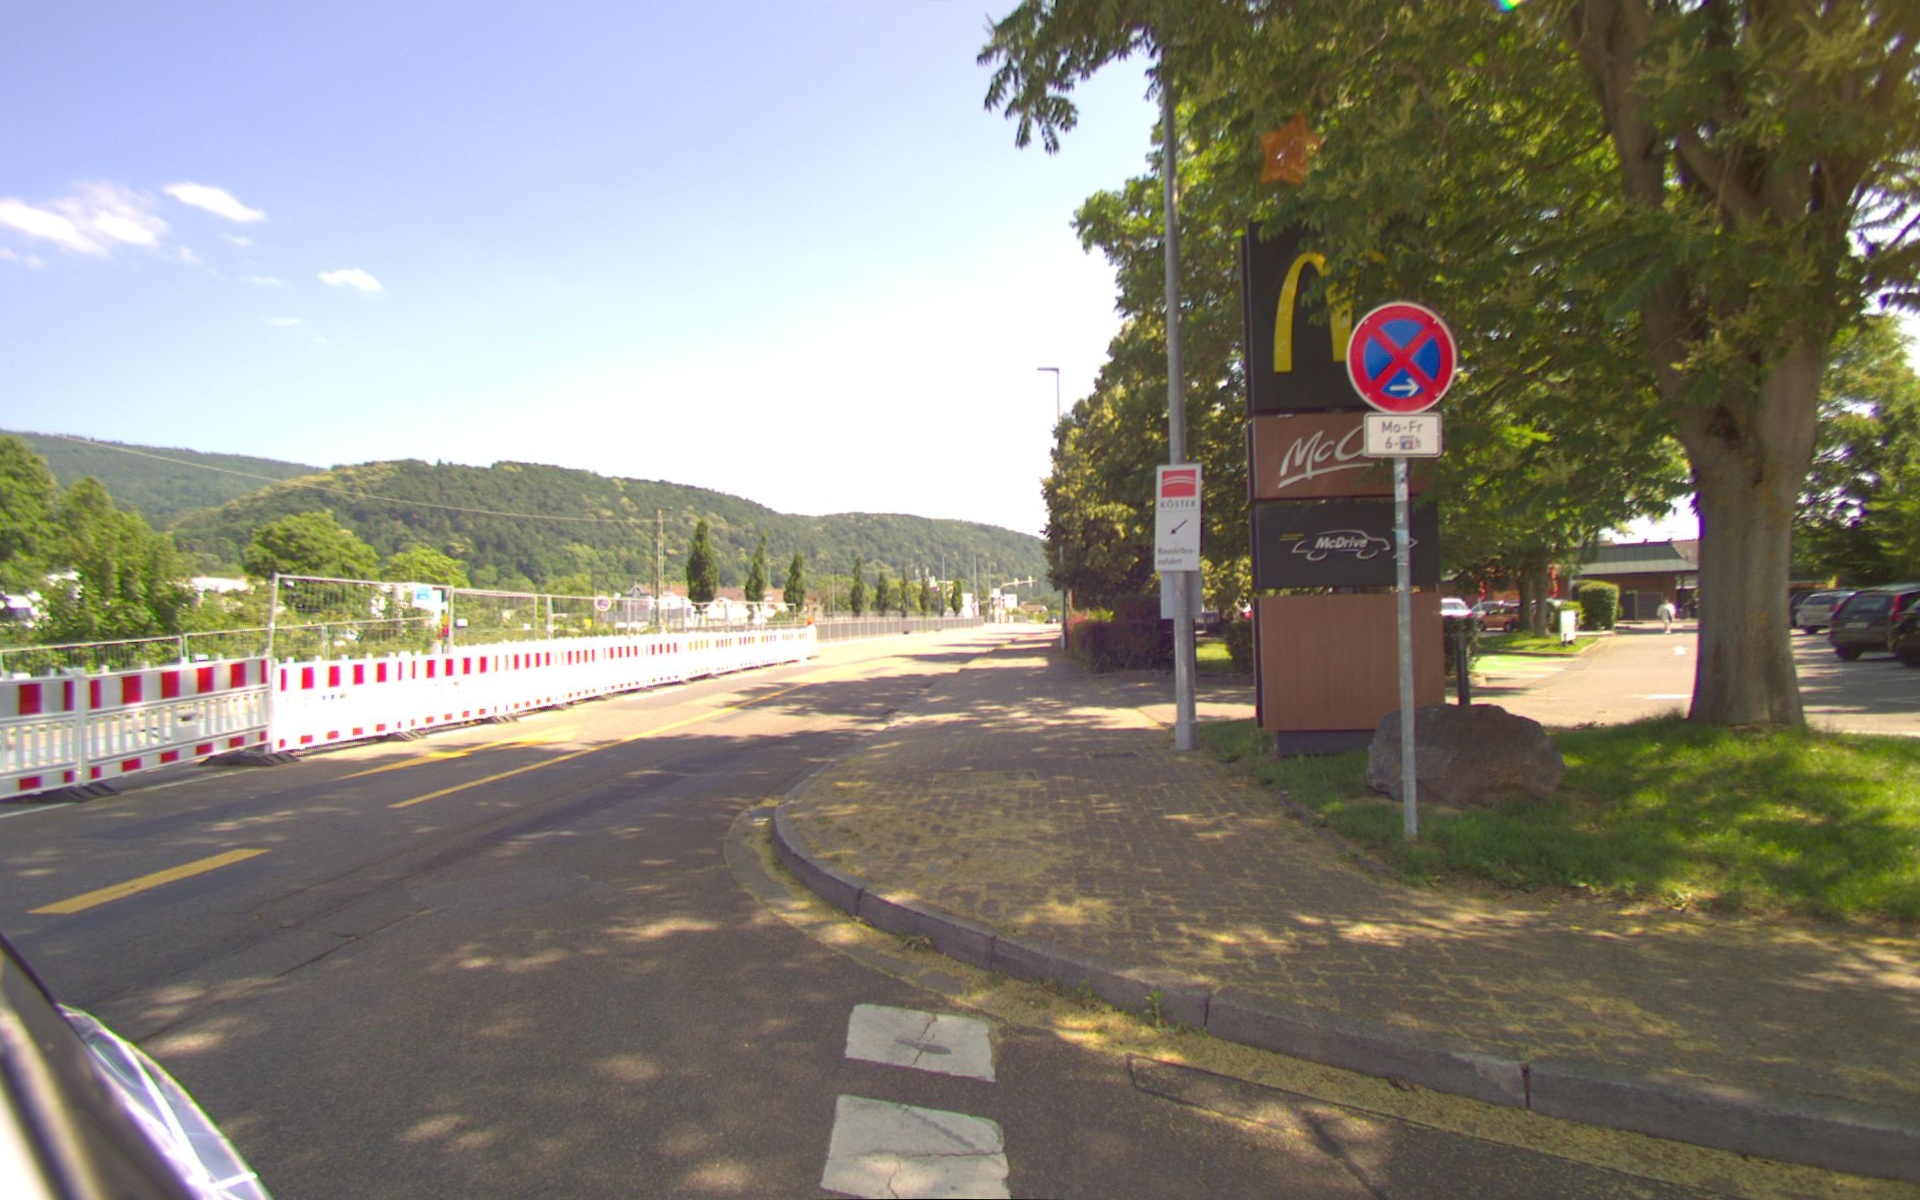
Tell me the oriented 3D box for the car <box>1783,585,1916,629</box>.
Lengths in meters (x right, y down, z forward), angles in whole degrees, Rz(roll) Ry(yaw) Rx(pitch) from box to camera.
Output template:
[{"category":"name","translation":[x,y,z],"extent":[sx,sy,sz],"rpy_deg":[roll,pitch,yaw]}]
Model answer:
[{"category":"car","translation":[35.731,0.300,40.711],"extent":[3.811,1.588,1.821],"rpy_deg":[-2,-1,-5]}]

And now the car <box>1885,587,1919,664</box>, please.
[{"category":"car","translation":[19.602,0.384,18.407],"extent":[4.032,1.398,1.772],"rpy_deg":[-2,-1,-5]}]

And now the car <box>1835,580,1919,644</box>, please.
[{"category":"car","translation":[25.481,0.255,26.512],"extent":[3.789,1.600,1.646],"rpy_deg":[-2,-1,-7]}]

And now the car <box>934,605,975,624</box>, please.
[{"category":"car","translation":[-0.833,2.064,147.912],"extent":[5.616,2.362,2.285],"rpy_deg":[-4,0,37]}]

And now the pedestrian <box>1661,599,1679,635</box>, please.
[{"category":"pedestrian","translation":[29.306,0.698,41.768],"extent":[0.514,1.491,0.529],"rpy_deg":[-3,-2,36]}]

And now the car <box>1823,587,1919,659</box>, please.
[{"category":"car","translation":[20.697,0.413,21.166],"extent":[4.009,1.406,1.629],"rpy_deg":[-2,-1,-5]}]

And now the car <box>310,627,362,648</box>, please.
[{"category":"car","translation":[-79.703,4.783,129.354],"extent":[2.119,2.117,5.484],"rpy_deg":[-7,-1,19]}]

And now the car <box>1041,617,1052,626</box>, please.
[{"category":"car","translation":[13.020,3.289,152.176],"extent":[1.592,1.265,3.674],"rpy_deg":[-2,-1,7]}]

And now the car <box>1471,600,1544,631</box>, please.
[{"category":"car","translation":[30.334,0.877,56.187],"extent":[1.643,1.644,3.728],"rpy_deg":[-2,-1,-5]}]

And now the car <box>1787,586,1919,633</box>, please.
[{"category":"car","translation":[31.360,0.331,35.119],"extent":[3.984,1.461,1.797],"rpy_deg":[-2,-1,-7]}]
